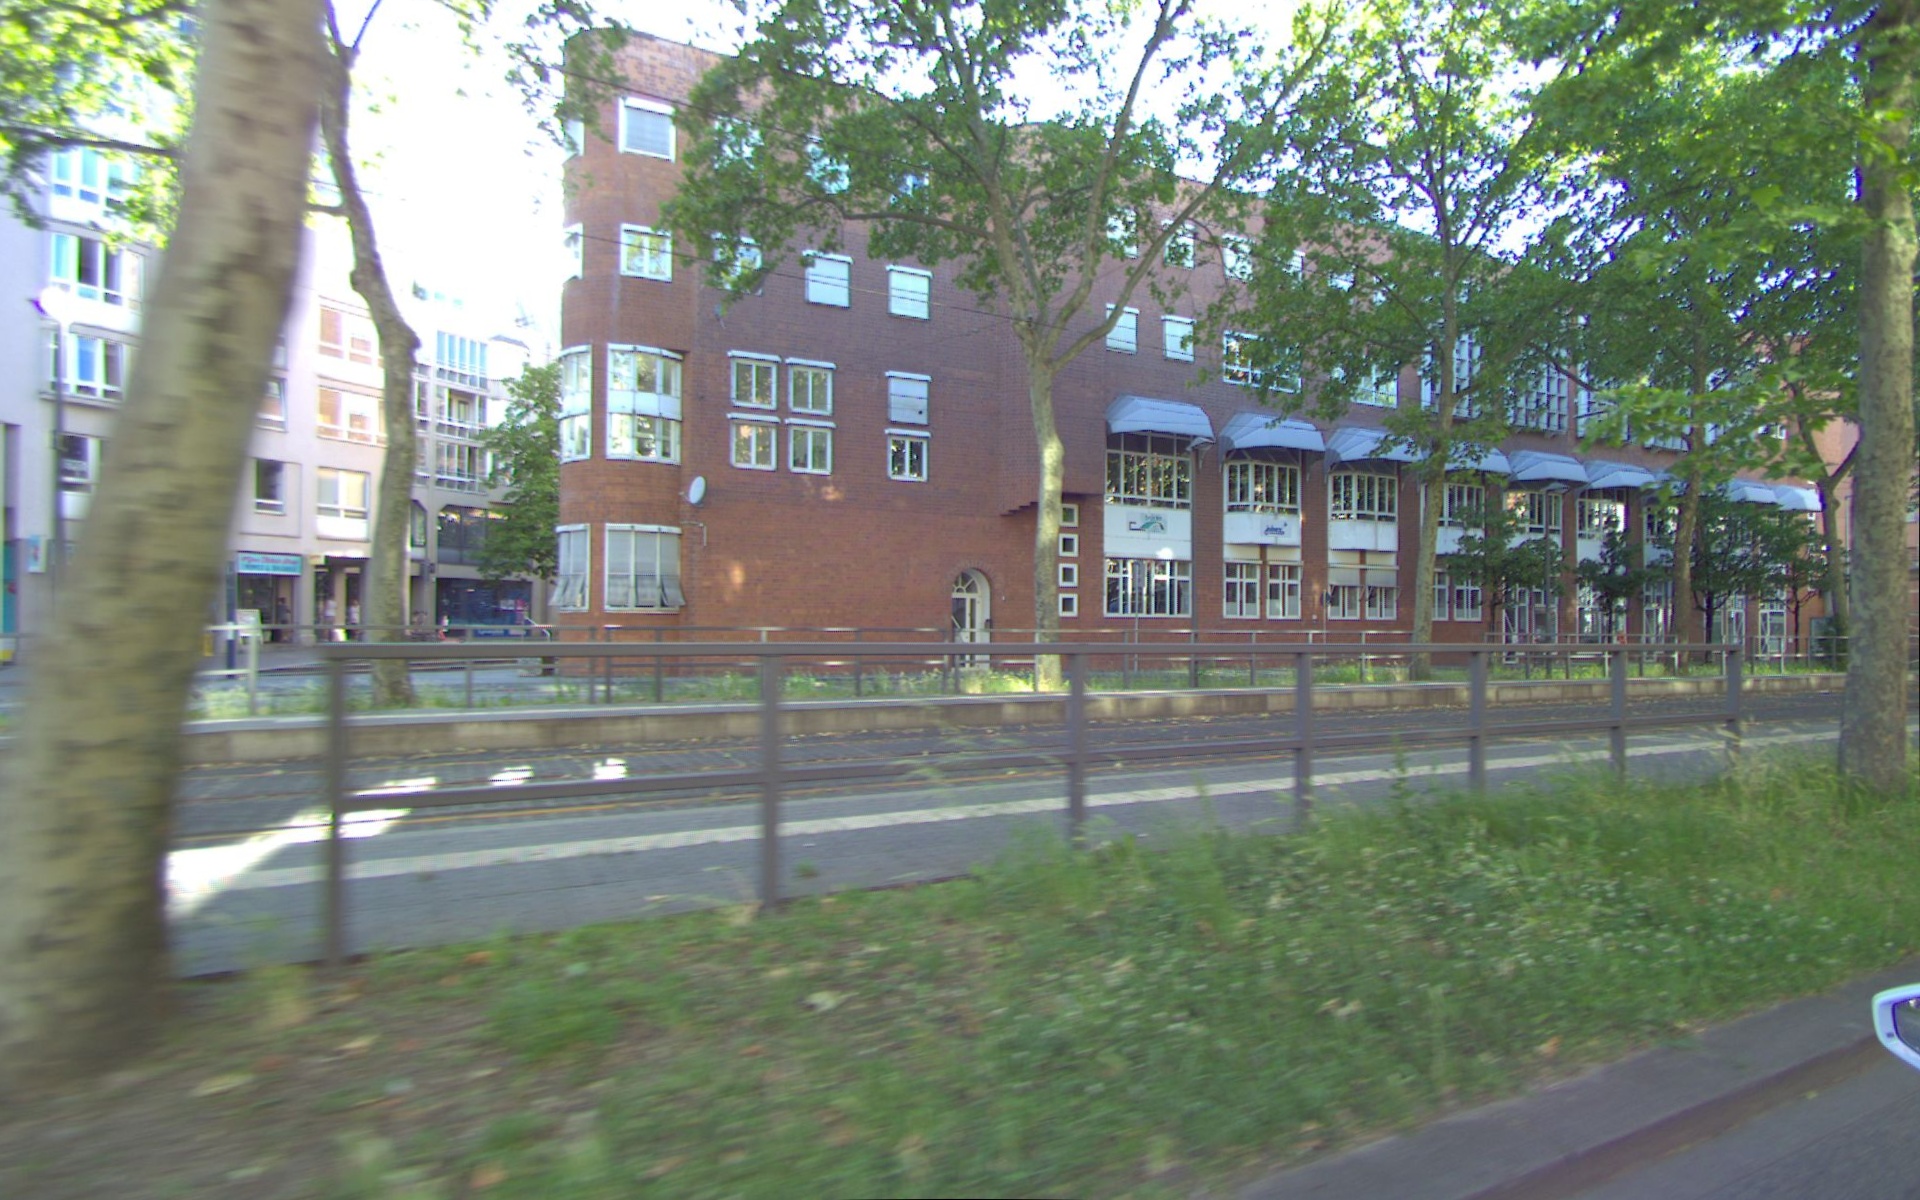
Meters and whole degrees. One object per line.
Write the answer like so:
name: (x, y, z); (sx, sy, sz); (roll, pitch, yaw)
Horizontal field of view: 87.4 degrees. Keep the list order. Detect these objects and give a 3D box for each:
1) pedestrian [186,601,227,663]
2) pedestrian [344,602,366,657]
pedestrian: (-24.391, 1.033, 32.530); (0.810, 1.968, 0.757); (1, -1, -13)
pedestrian: (-22.744, 1.114, 37.774); (0.653, 2.040, 0.614); (1, -1, -27)
